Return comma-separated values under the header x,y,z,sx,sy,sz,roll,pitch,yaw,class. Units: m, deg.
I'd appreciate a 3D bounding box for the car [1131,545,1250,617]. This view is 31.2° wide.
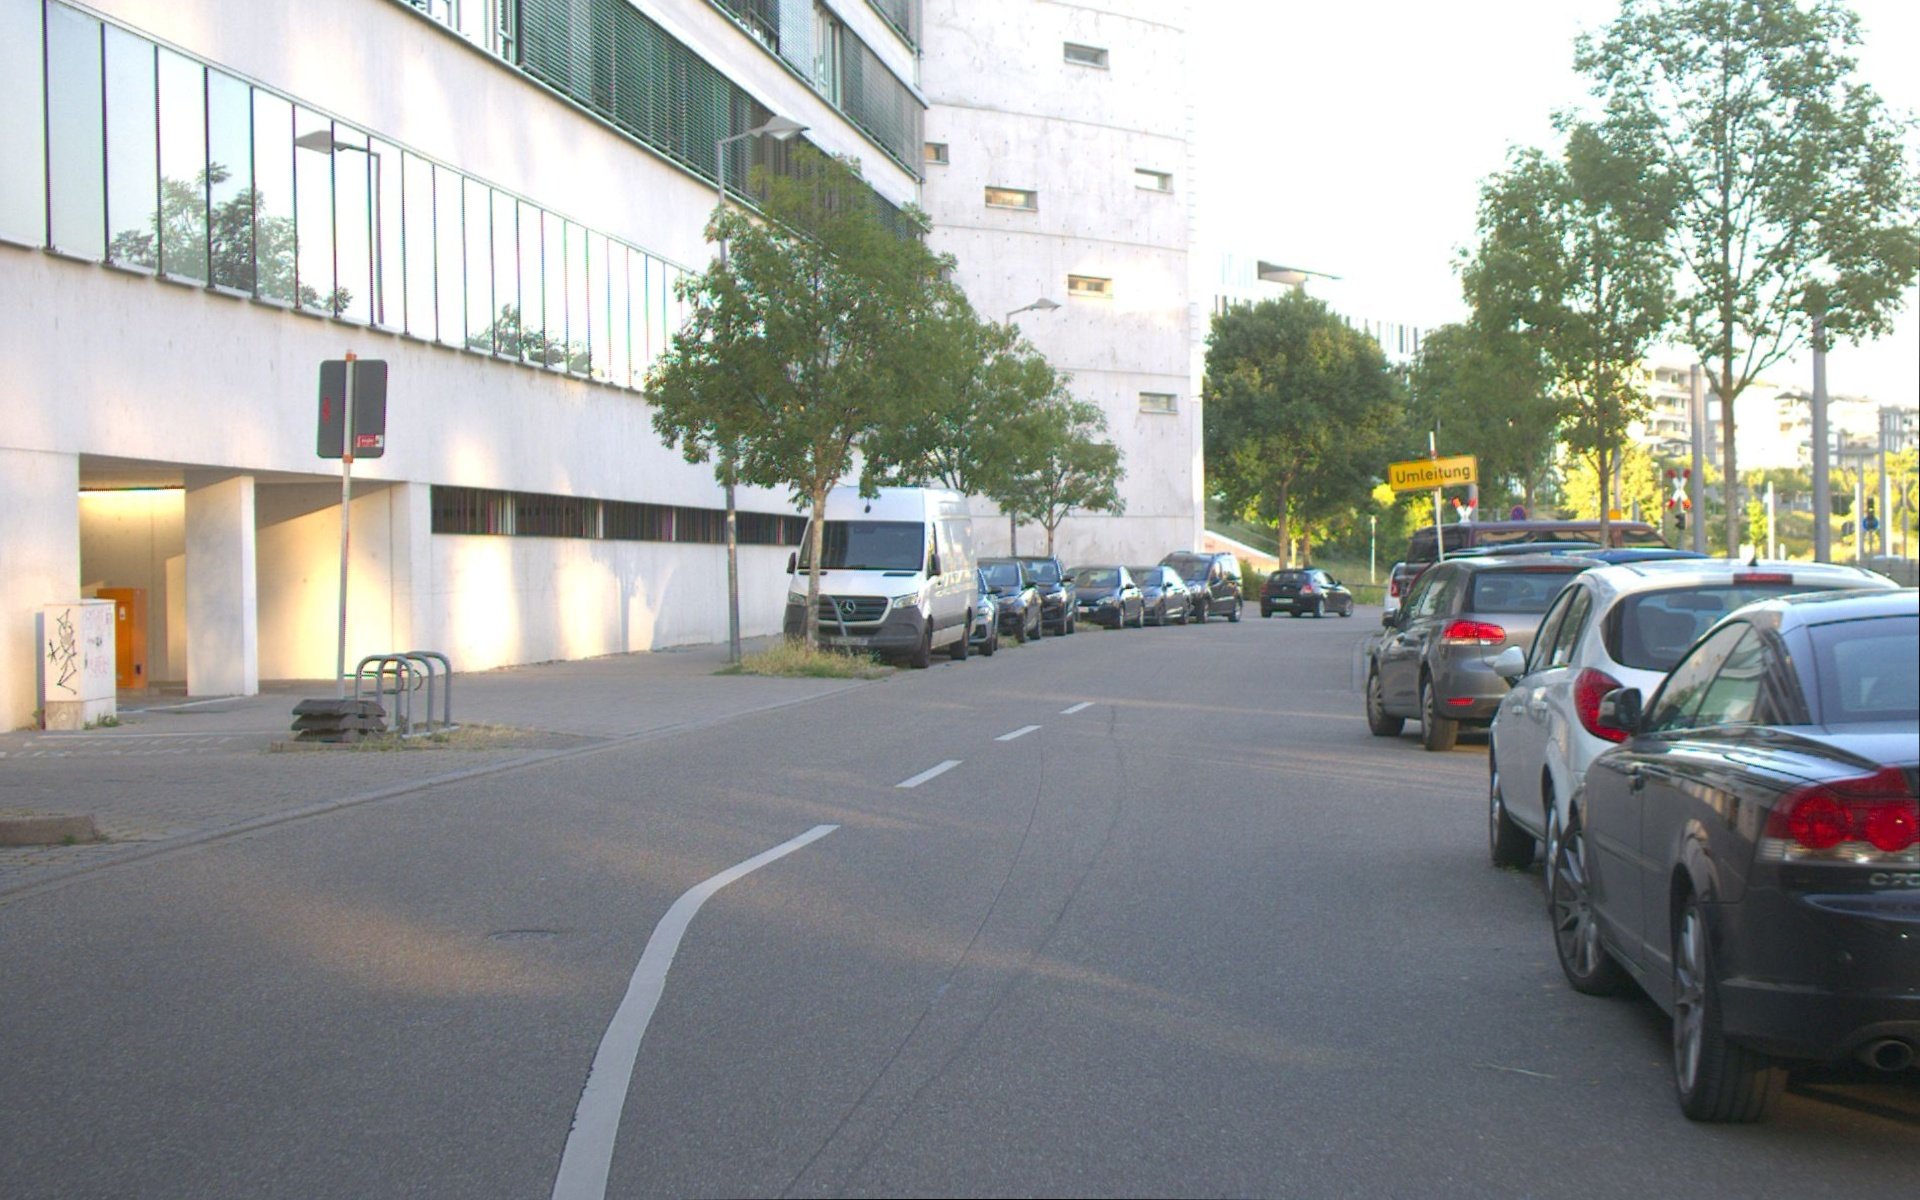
x,y,z,sx,sy,sz,roll,pitch,yaw,class
6.042,-0.524,89.720,1.759,1.792,4.458,2,1,22,car

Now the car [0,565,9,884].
x,y,z,sx,sy,sz,roll,pitch,yaw,class
-5.311,0.605,13.562,1.715,1.447,4.399,0,1,3,car

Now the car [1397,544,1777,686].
x,y,z,sx,sy,sz,roll,pitch,yaw,class
8.106,0.178,44.393,4.587,1.743,1.872,0,1,-27,car

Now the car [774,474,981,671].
x,y,z,sx,sy,sz,roll,pitch,yaw,class
-1.098,-0.436,49.831,1.959,2.608,6.891,1,1,7,car

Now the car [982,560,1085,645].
x,y,z,sx,sy,sz,roll,pitch,yaw,class
1.552,0.025,70.955,1.756,1.648,3.948,1,1,6,car

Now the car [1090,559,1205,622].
x,y,z,sx,sy,sz,roll,pitch,yaw,class
4.650,-0.249,84.564,1.724,1.452,4.690,2,1,17,car

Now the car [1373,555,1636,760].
x,y,z,sx,sy,sz,roll,pitch,yaw,class
4.240,0.422,27.254,1.731,1.461,3.999,1,0,5,car

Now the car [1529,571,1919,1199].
x,y,z,sx,sy,sz,roll,pitch,yaw,class
2.783,0.660,9.942,1.787,1.447,4.515,0,1,4,car

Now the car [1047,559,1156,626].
x,y,z,sx,sy,sz,roll,pitch,yaw,class
3.295,-0.189,79.326,1.723,1.452,4.269,2,1,13,car

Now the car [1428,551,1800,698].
x,y,z,sx,sy,sz,roll,pitch,yaw,class
7.542,0.289,39.596,3.986,1.589,1.737,1,0,-29,car

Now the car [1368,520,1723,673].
x,y,z,sx,sy,sz,roll,pitch,yaw,class
8.107,-0.054,47.542,4.587,2.028,1.872,0,1,-27,car

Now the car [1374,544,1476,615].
x,y,z,sx,sy,sz,roll,pitch,yaw,class
10.034,-0.450,74.073,1.723,1.462,3.550,-1,1,15,car

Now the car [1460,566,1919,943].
x,y,z,sx,sy,sz,roll,pitch,yaw,class
3.258,0.581,15.415,1.676,1.447,4.187,0,1,4,car

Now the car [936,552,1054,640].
x,y,z,sx,sy,sz,roll,pitch,yaw,class
0.693,-0.097,64.972,1.756,1.555,4.042,1,1,7,car

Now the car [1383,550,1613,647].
x,y,z,sx,sy,sz,roll,pitch,yaw,class
9.810,-0.029,62.673,3.766,1.720,1.764,0,1,-26,car

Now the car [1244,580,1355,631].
x,y,z,sx,sy,sz,roll,pitch,yaw,class
9.883,0.140,99.731,1.946,1.378,4.394,2,1,23,car

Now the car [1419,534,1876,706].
x,y,z,sx,sy,sz,roll,pitch,yaw,class
6.673,0.186,33.339,3.987,1.515,1.928,-2,-1,-28,car

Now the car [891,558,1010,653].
x,y,z,sx,sy,sz,roll,pitch,yaw,class
-0.121,0.056,56.304,1.756,1.435,3.901,1,1,2,car
